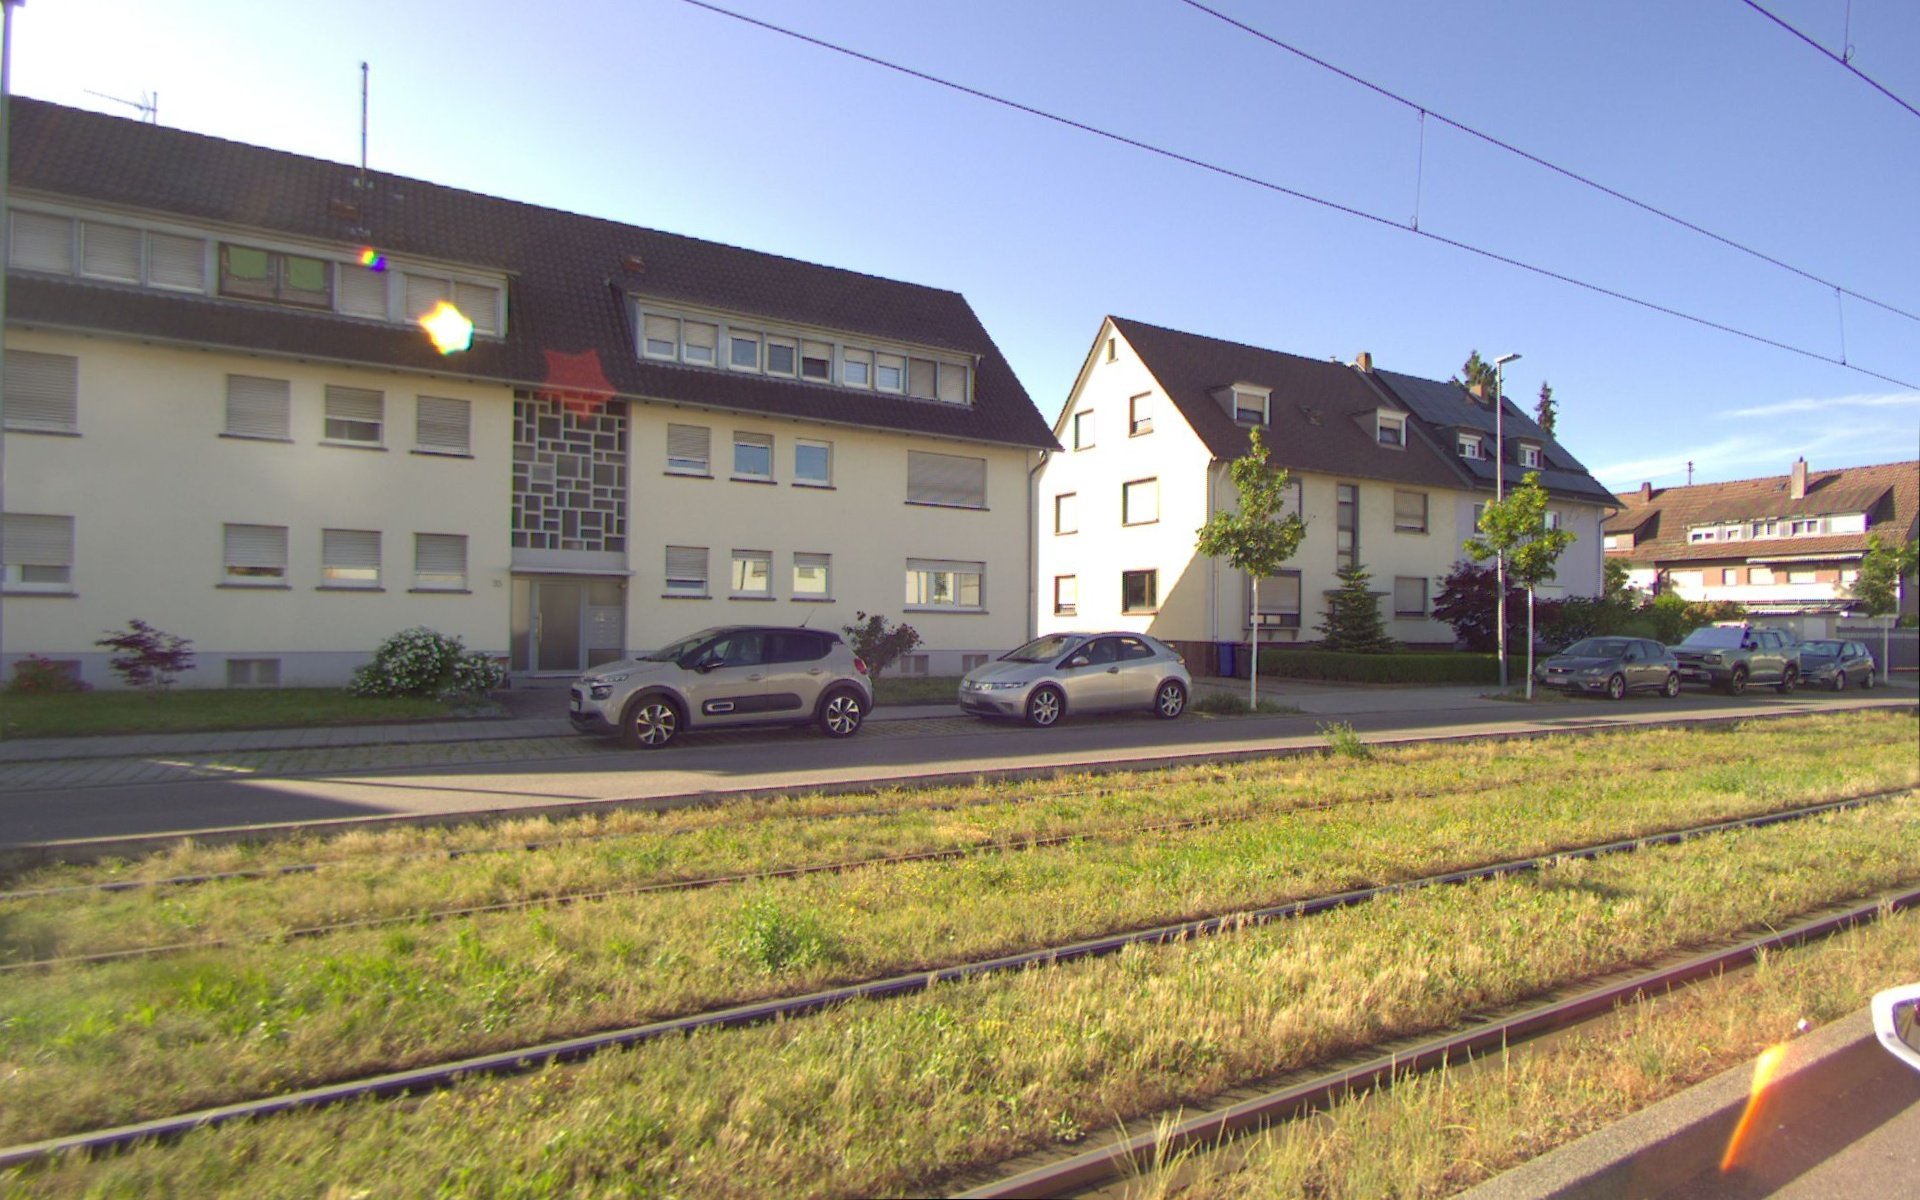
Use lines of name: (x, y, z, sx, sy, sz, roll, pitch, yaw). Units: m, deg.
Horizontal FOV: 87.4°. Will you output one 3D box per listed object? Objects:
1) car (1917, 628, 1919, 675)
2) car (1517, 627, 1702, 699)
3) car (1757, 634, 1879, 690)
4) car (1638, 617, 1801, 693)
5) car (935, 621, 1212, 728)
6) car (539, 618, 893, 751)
car: (37.171, 1.946, 36.738, 4.787, 1.707, 1.811, 2, 0, -29)
car: (15.921, 1.506, 24.584, 4.503, 1.561, 1.951, 2, 0, -30)
car: (26.022, 1.842, 30.449, 4.005, 1.510, 1.667, 2, 0, -32)
car: (20.535, 1.448, 27.116, 4.783, 1.847, 1.737, 2, 0, -30)
car: (1.912, 1.161, 16.435, 4.393, 1.495, 1.679, 2, 0, -32)
car: (-3.181, 1.050, 13.402, 4.267, 1.492, 1.679, 2, 0, -32)
